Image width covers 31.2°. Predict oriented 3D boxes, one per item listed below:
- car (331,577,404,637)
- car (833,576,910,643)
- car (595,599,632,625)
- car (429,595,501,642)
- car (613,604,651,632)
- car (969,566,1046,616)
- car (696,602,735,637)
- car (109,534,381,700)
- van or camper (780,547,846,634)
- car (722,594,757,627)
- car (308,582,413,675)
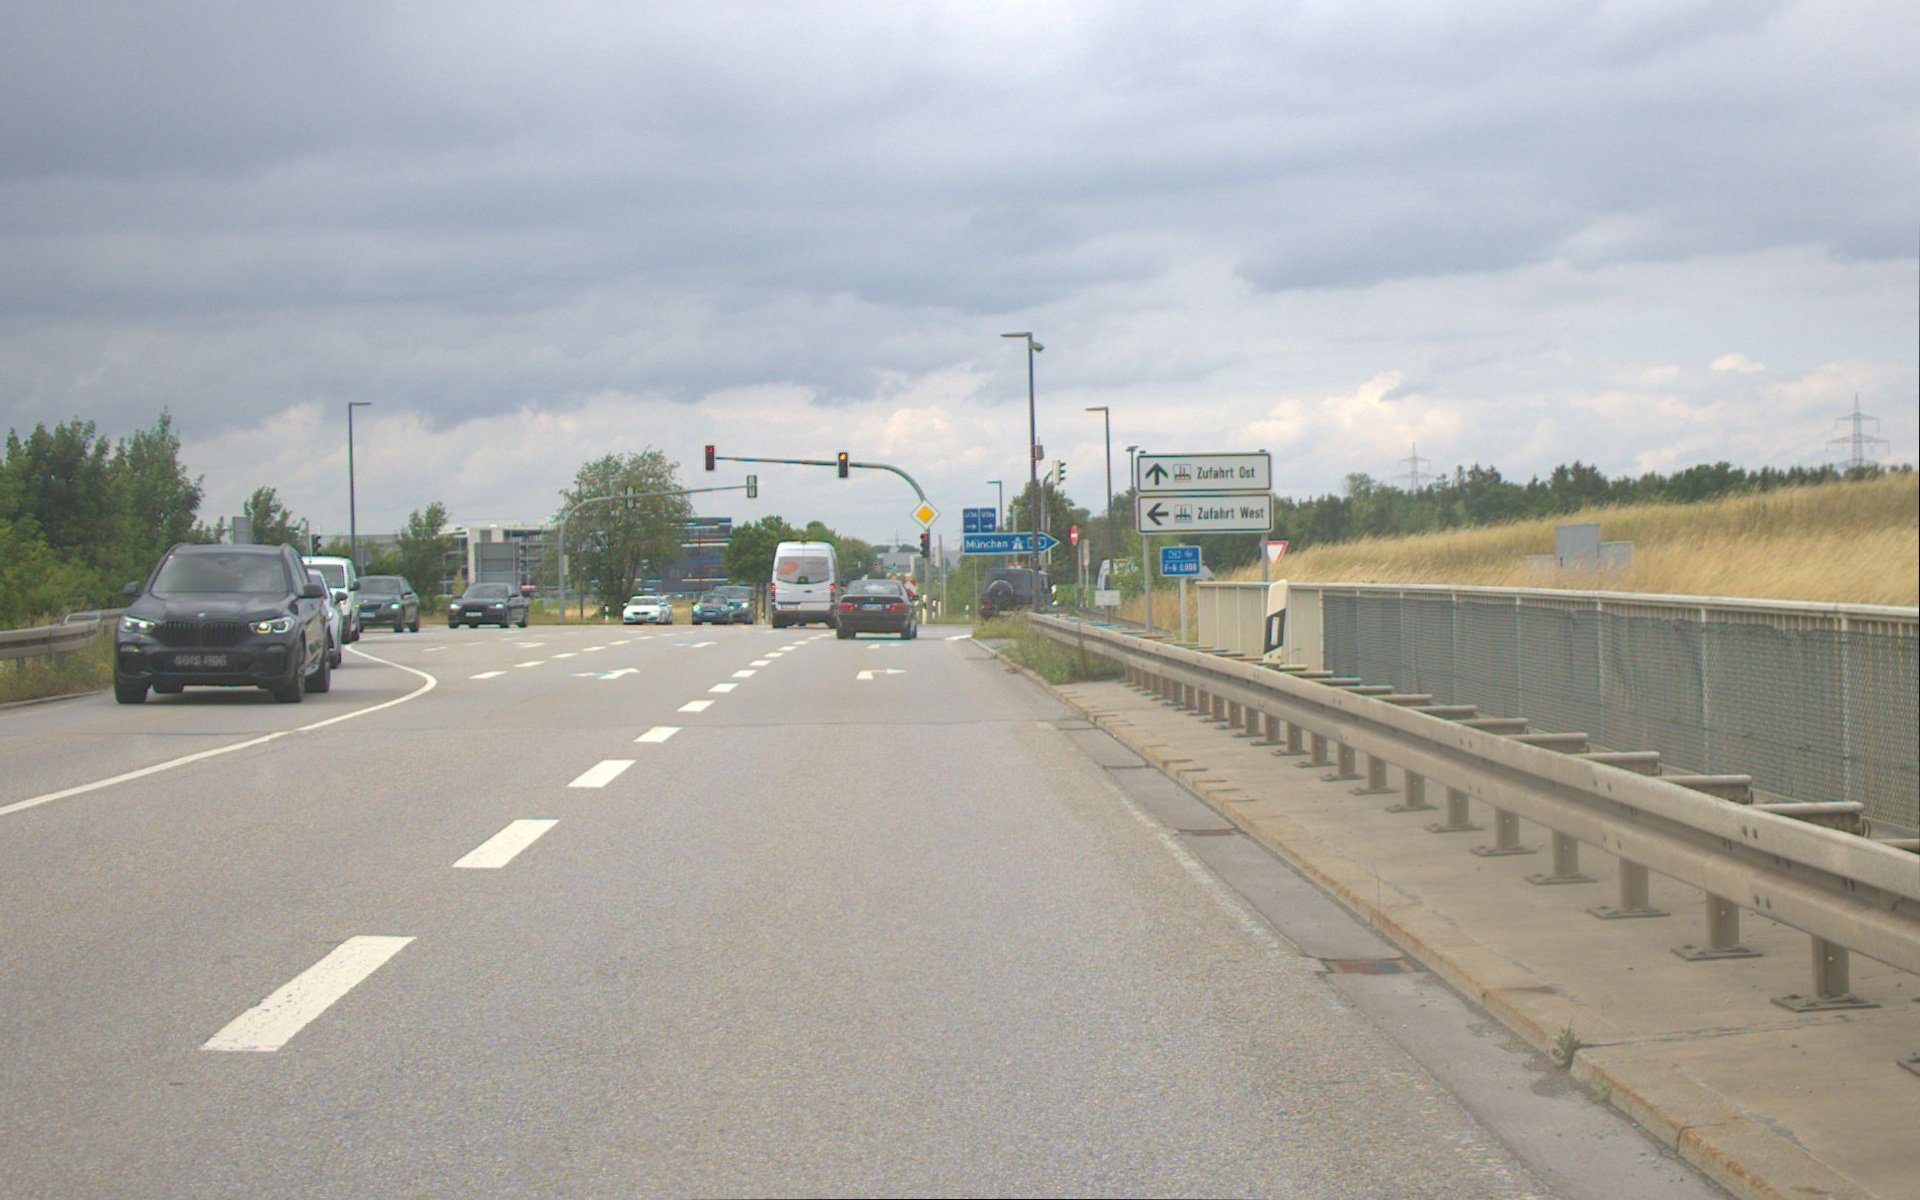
[{"bbox_3d":[-15.835,0.179,91.984,1.582,1.552,4.147,0,0,-5],"label":"car"},{"bbox_3d":[-1.989,0.206,77.709,1.518,1.480,3.615,-1,0,2],"label":"car"},{"bbox_3d":[-17.342,0.581,171.998,1.480,1.278,3.533,-1,0,0],"label":"car"},{"bbox_3d":[-15.612,0.569,108.575,1.808,1.364,4.786,-1,1,-3],"label":"car"},{"bbox_3d":[-15.674,0.852,164.374,1.480,1.278,3.533,-1,0,0],"label":"car"},{"bbox_3d":[1.516,-0.293,108.505,1.683,1.539,3.613,-1,0,14],"label":"car"},{"bbox_3d":[-11.289,0.890,158.878,1.693,1.364,3.944,0,3,-3],"label":"car"},{"bbox_3d":[-7.951,0.184,38.670,1.993,1.726,4.762,1,0,1],"label":"car"},{"bbox_3d":[-4.477,-0.292,104.996,1.876,2.572,4.000,1,0,-1],"label":"van or camper"},{"bbox_3d":[-10.777,0.502,168.238,1.693,1.364,3.944,0,3,-3],"label":"car"},{"bbox_3d":[-12.592,0.588,72.418,1.953,1.868,4.821,1,0,-8],"label":"car"}]
